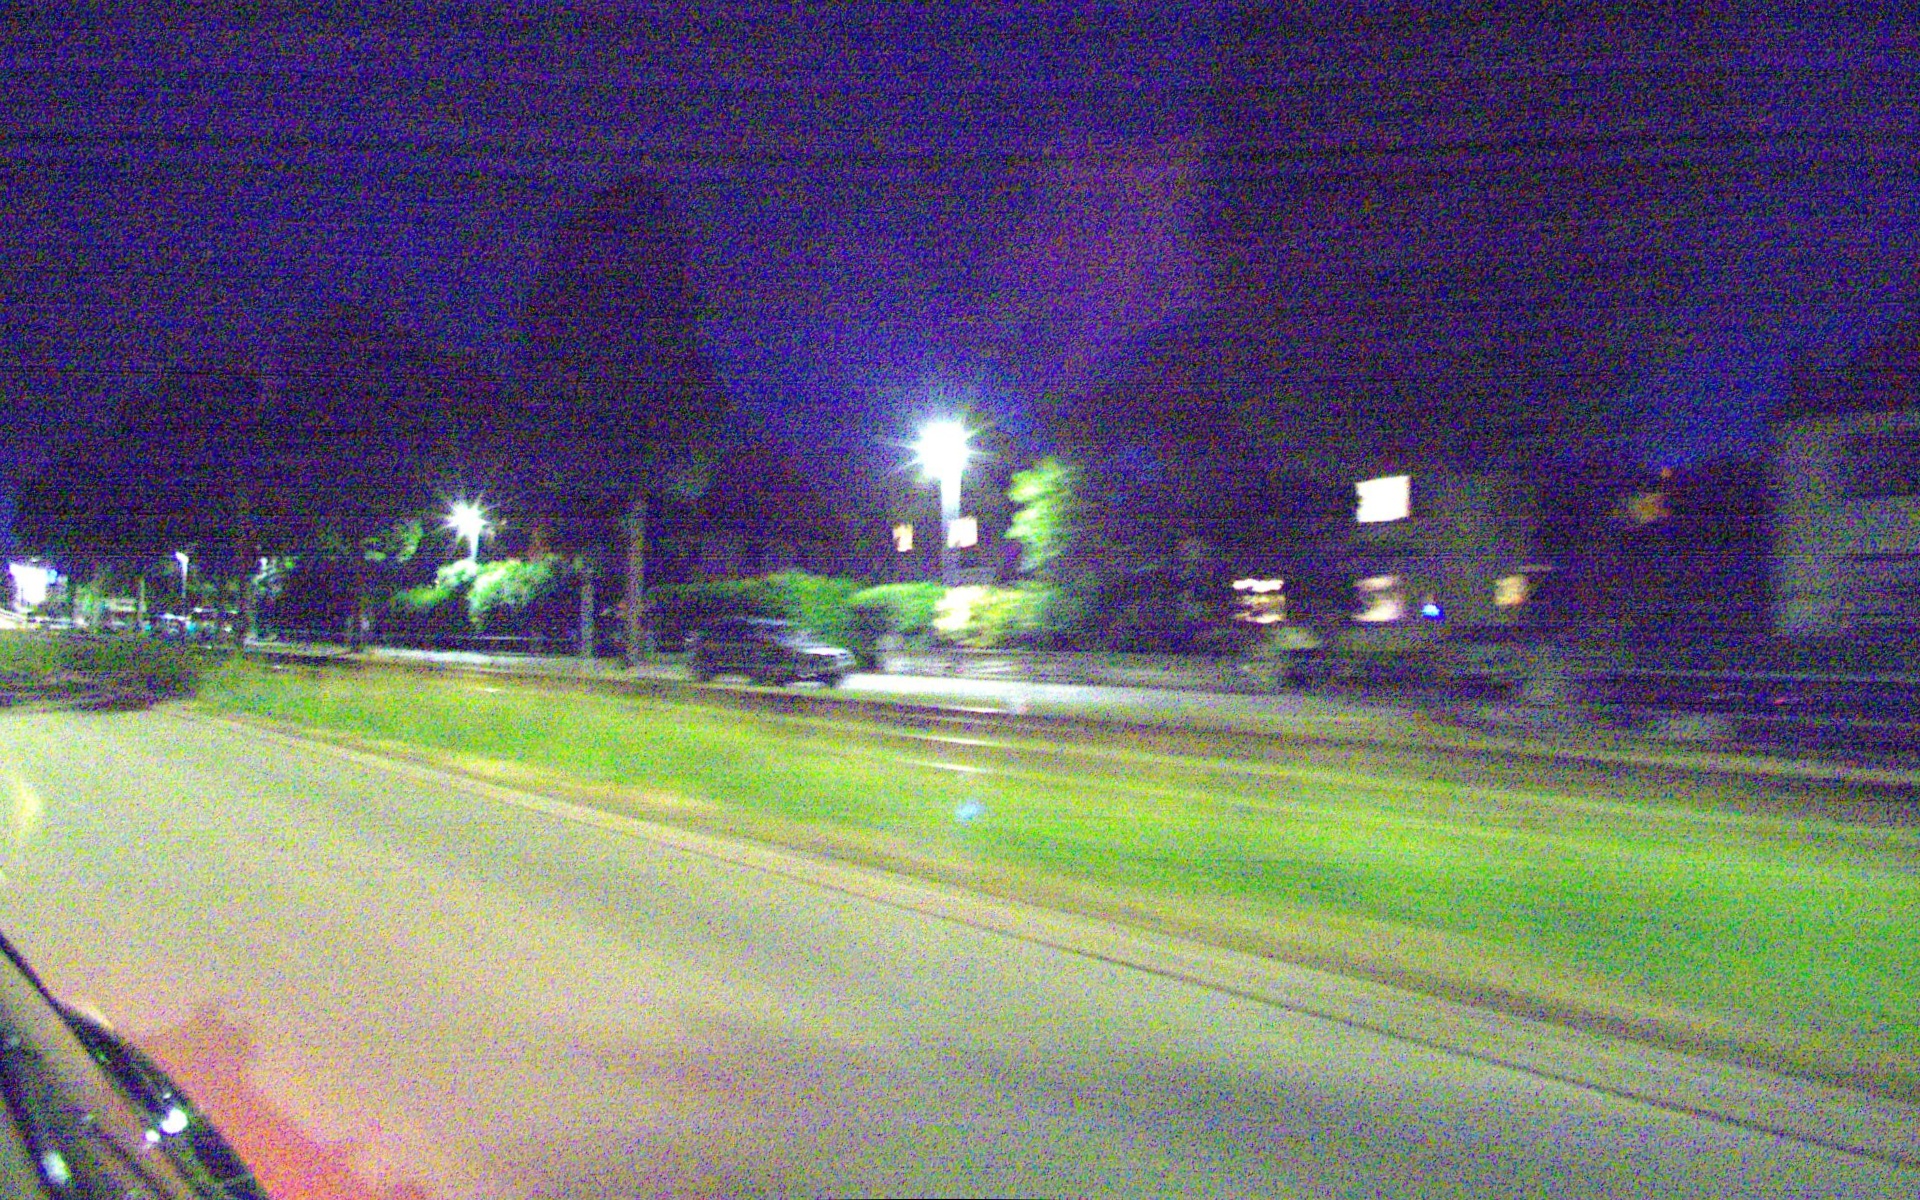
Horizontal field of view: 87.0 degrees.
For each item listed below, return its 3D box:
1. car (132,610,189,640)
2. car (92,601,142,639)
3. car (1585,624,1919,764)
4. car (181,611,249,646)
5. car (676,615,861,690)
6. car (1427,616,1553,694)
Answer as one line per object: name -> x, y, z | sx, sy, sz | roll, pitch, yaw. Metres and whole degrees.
car -> -50.908, 1.590, 64.434 | 4.721, 1.784, 2.096 | -1, -4, 44
car -> -61.204, 1.450, 73.429 | 4.721, 2.532, 2.135 | -1, -4, 44
car -> 10.006, 1.029, 11.205 | 4.985, 1.375, 1.879 | -1, -4, 44
car -> -41.179, 1.564, 55.900 | 4.721, 1.784, 2.096 | -1, -4, 44
car -> -4.627, 1.235, 24.095 | 4.691, 1.580, 1.745 | -1, -6, 41
car -> 12.360, 1.198, 23.482 | 1.887, 1.554, 3.948 | -1, 0, 39
